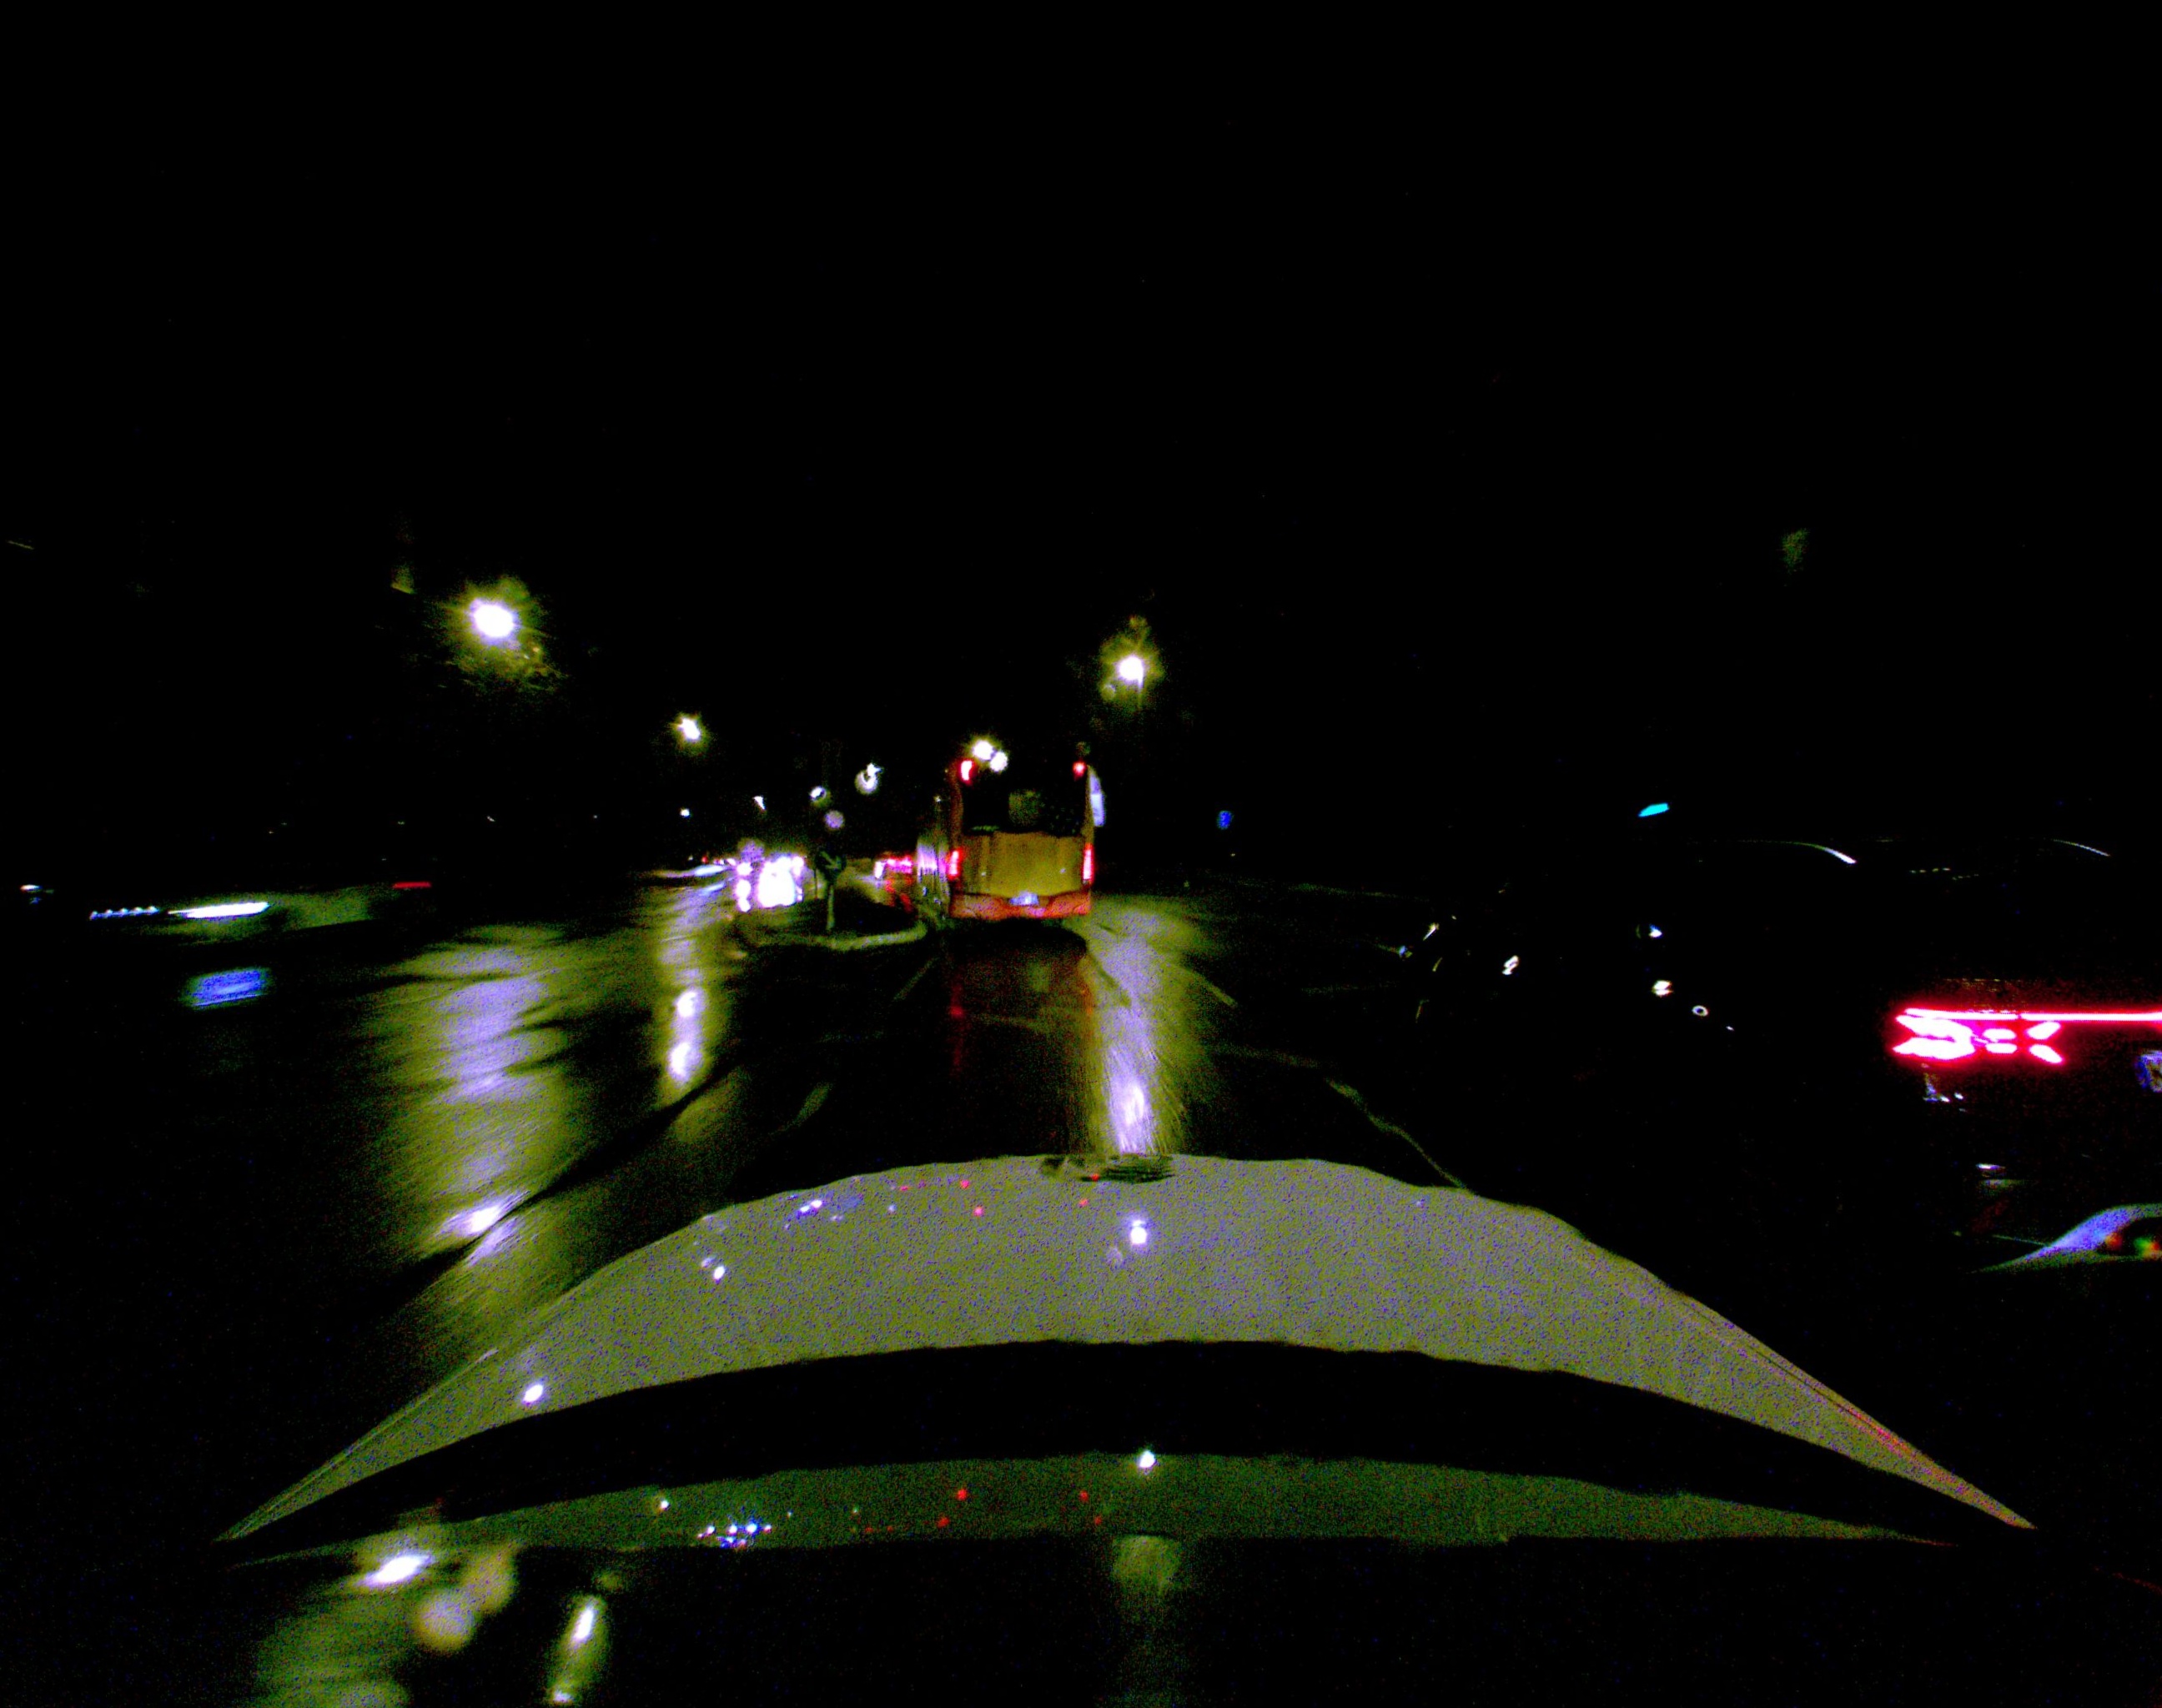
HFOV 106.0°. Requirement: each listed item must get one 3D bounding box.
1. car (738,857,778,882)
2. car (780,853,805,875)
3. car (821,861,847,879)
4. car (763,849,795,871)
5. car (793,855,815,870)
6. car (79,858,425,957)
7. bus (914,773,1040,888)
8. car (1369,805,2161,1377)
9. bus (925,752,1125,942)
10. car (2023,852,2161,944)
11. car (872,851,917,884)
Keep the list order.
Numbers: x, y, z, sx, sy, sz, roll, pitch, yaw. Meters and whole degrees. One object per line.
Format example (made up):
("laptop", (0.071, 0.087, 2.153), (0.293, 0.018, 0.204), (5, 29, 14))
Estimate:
("car", (-19.701, 0.976, 49.820), (1.828, 1.448, 4.633), (1, -1, -17))
("car", (-27.196, 0.940, 76.625), (2.002, 2.013, 4.316), (0, 0, -23))
("car", (-23.336, 1.520, 76.792), (1.824, 1.618, 3.968), (1, -2, -24))
("car", (-23.030, 0.461, 62.165), (1.884, 1.607, 4.635), (0, 0, -16))
("car", (-30.298, 0.966, 89.100), (1.825, 1.618, 3.966), (1, -2, -25))
("car", (-13.623, 0.778, 13.829), (1.803, 1.353, 4.136), (-1, 0, -5))
("bus", (-3.735, -0.695, 26.916), (3.251, 3.120, 8.607), (1, 1, -13))
("car", (3.121, 0.680, 4.220), (1.673, 1.522, 3.954), (1, -1, -4))
("bus", (-1.780, -0.338, 18.048), (3.286, 3.049, 9.510), (0, 3, -11))
("car", (19.815, 0.749, 14.280), (4.141, 1.519, 1.861), (0, 1, 7))
("car", (-11.838, 0.860, 51.476), (2.002, 2.014, 4.315), (1, -2, -23))
